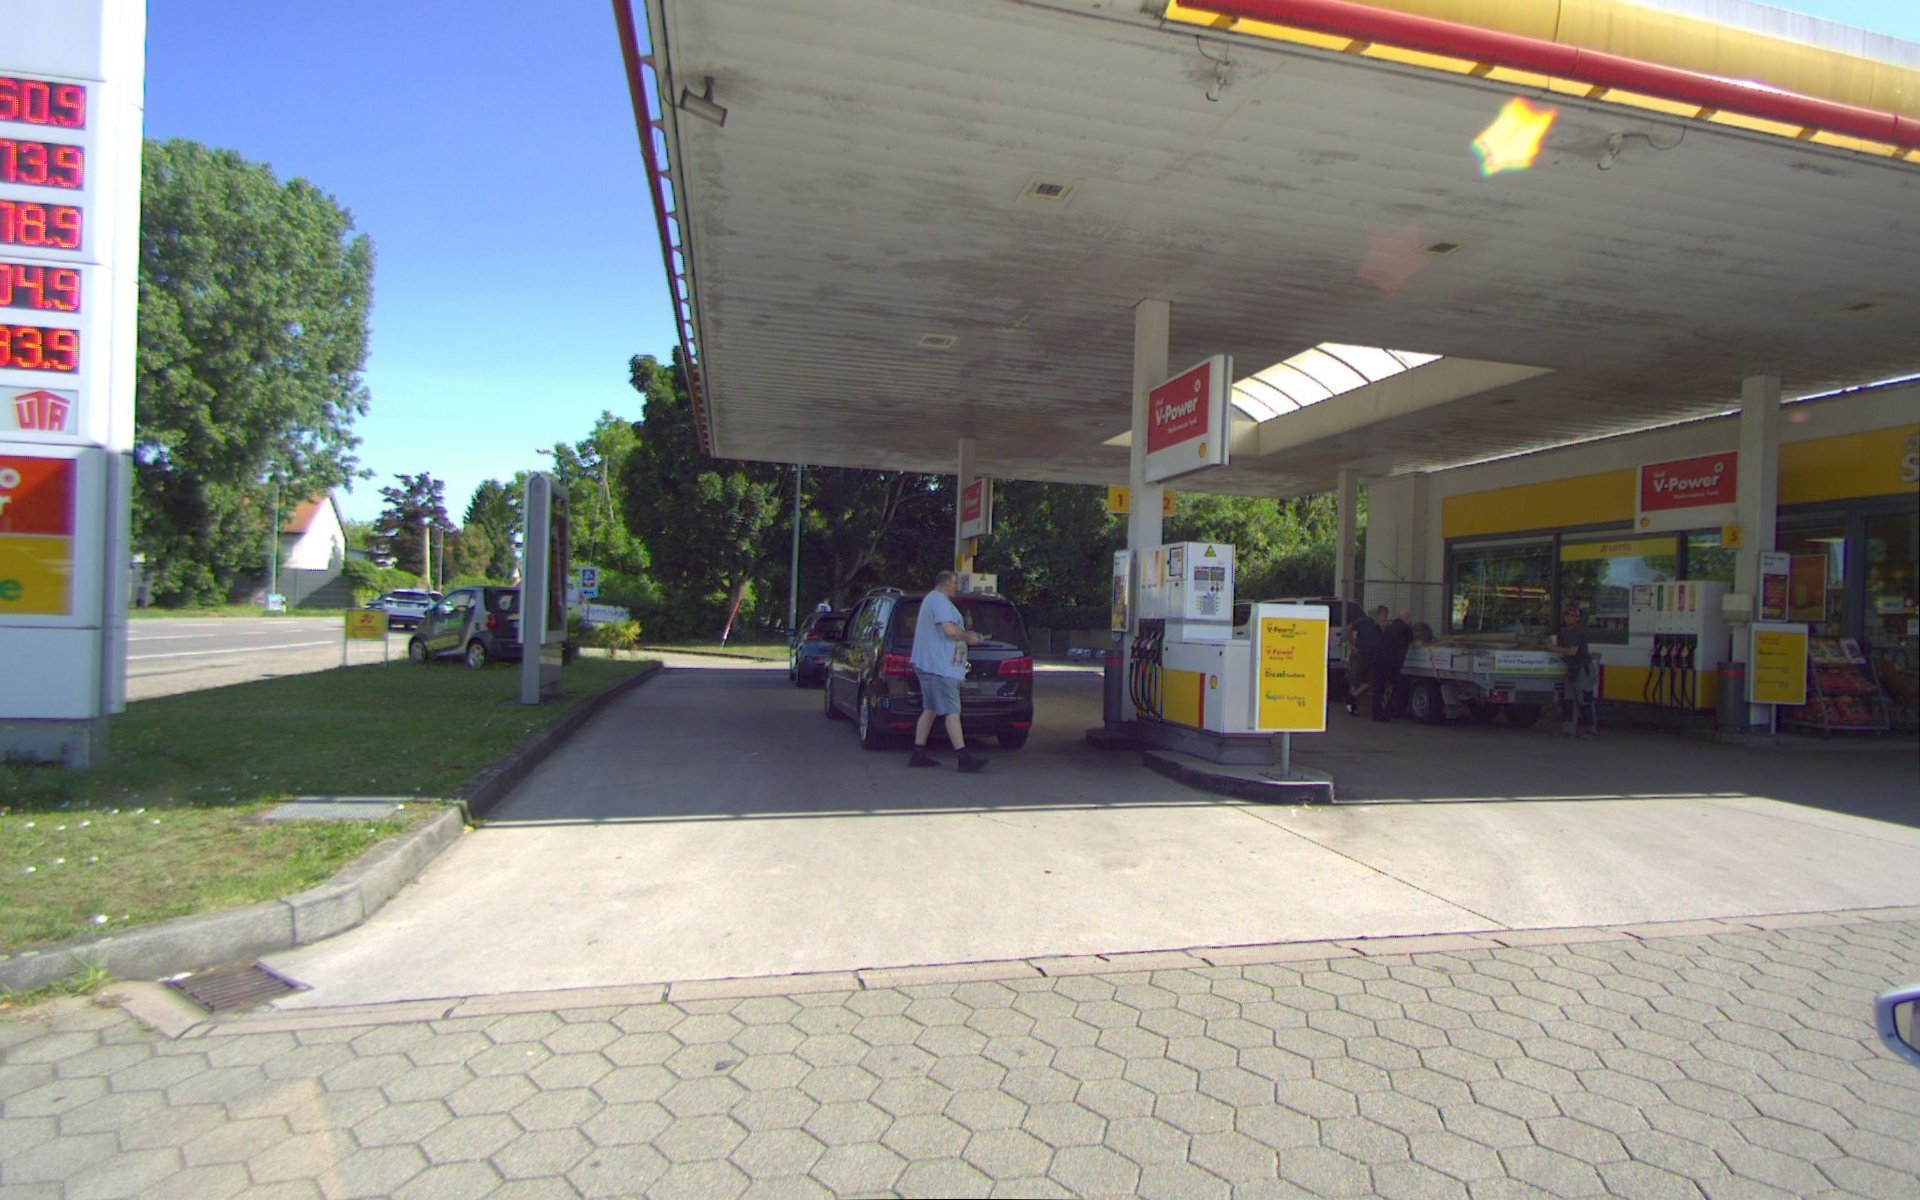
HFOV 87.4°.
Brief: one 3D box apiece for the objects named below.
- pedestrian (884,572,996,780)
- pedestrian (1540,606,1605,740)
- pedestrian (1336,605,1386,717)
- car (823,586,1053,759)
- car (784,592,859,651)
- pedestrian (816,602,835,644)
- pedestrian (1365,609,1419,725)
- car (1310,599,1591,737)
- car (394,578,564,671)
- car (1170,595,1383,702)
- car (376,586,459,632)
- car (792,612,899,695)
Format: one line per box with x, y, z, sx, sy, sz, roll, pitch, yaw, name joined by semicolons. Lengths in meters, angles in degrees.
-0.192;0.657;8.973;0.665;1.752;0.807;2;-1;-26;pedestrian
7.958;0.937;13.059;0.467;1.690;0.499;2;-1;-12;pedestrian
6.064;0.920;15.192;0.492;1.653;0.475;2;-1;-10;pedestrian
-0.438;0.721;11.408;1.736;1.599;3.866;2;-1;-15;car
-4.876;0.742;34.828;1.968;1.788;3.987;4;-2;-16;car
-5.047;0.864;37.698;0.665;1.557;0.393;2;-1;-9;pedestrian
6.147;0.943;14.312;0.492;1.614;0.475;2;-1;-10;pedestrian
7.119;0.939;15.095;1.800;1.750;3.994;2;-2;-9;car
-8.948;0.457;18.685;2.683;1.550;1.575;2;-3;31;car
6.175;0.906;20.294;1.826;1.862;4.766;2;-1;-14;car
-22.022;0.381;40.936;1.783;1.670;4.297;4;-1;-13;car
-2.288;0.959;19.286;1.771;1.378;3.841;2;-1;-10;car
